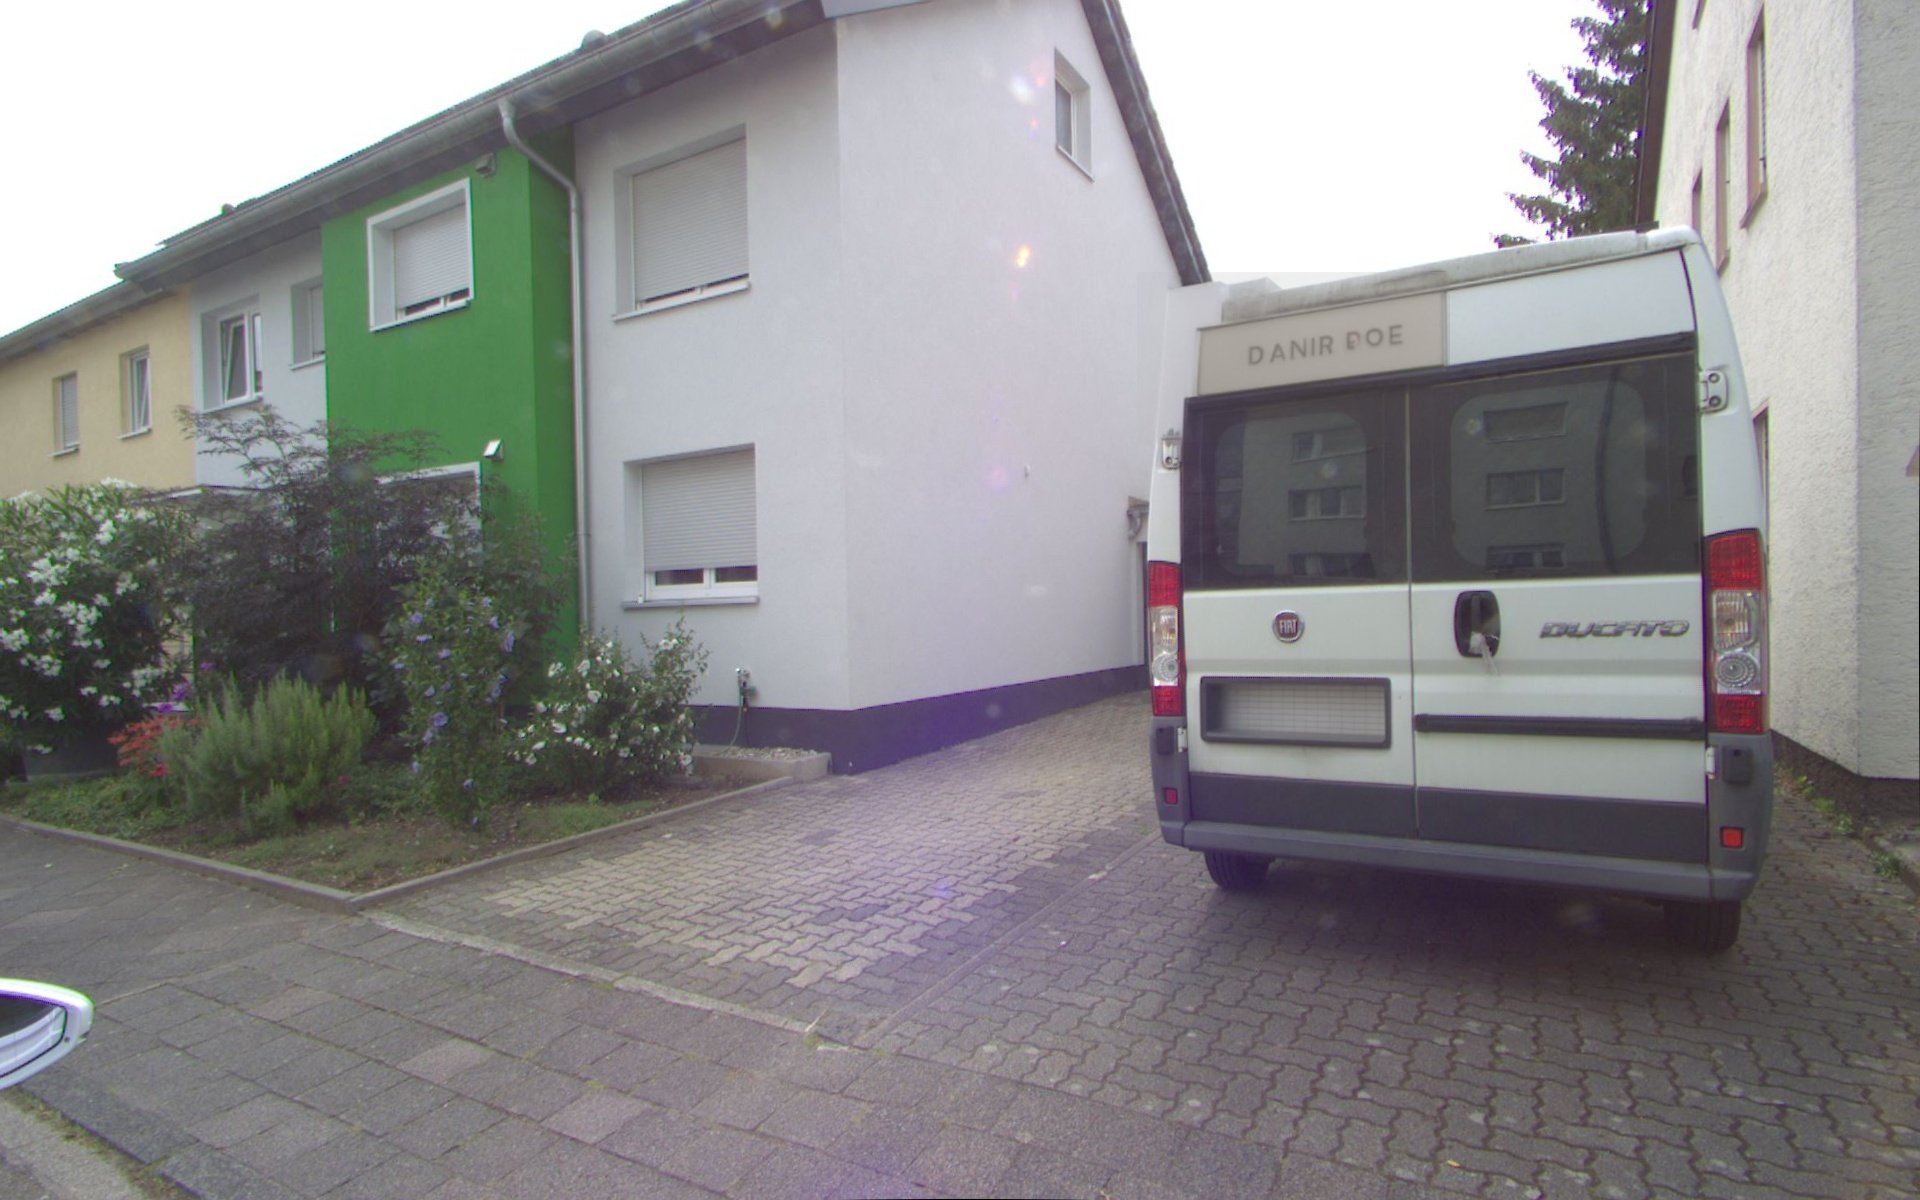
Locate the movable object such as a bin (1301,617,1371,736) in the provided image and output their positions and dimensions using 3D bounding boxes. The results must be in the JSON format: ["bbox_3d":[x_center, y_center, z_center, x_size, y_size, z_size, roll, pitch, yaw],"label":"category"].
[{"bbox_3d":[3.579,0.716,9.528,0.538,1.071,0.454,-1,2,30],"label":"movable object such as a bin"}]

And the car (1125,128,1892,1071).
[{"bbox_3d":[2.903,-0.021,5.495,2.205,2.576,5.077,-1,1,31],"label":"car"}]

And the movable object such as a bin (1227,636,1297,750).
[{"bbox_3d":[2.683,0.808,8.885,0.475,0.938,0.518,-1,2,30],"label":"movable object such as a bin"}]

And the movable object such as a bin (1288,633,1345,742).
[{"bbox_3d":[3.265,0.788,9.163,0.396,0.938,0.448,-1,2,30],"label":"movable object such as a bin"}]

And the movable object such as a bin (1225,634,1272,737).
[{"bbox_3d":[2.738,0.800,9.497,0.333,0.938,0.354,-1,2,30],"label":"movable object such as a bin"}]

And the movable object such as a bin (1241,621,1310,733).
[{"bbox_3d":[3.092,0.741,9.811,0.538,1.046,0.454,-1,2,30],"label":"movable object such as a bin"}]
